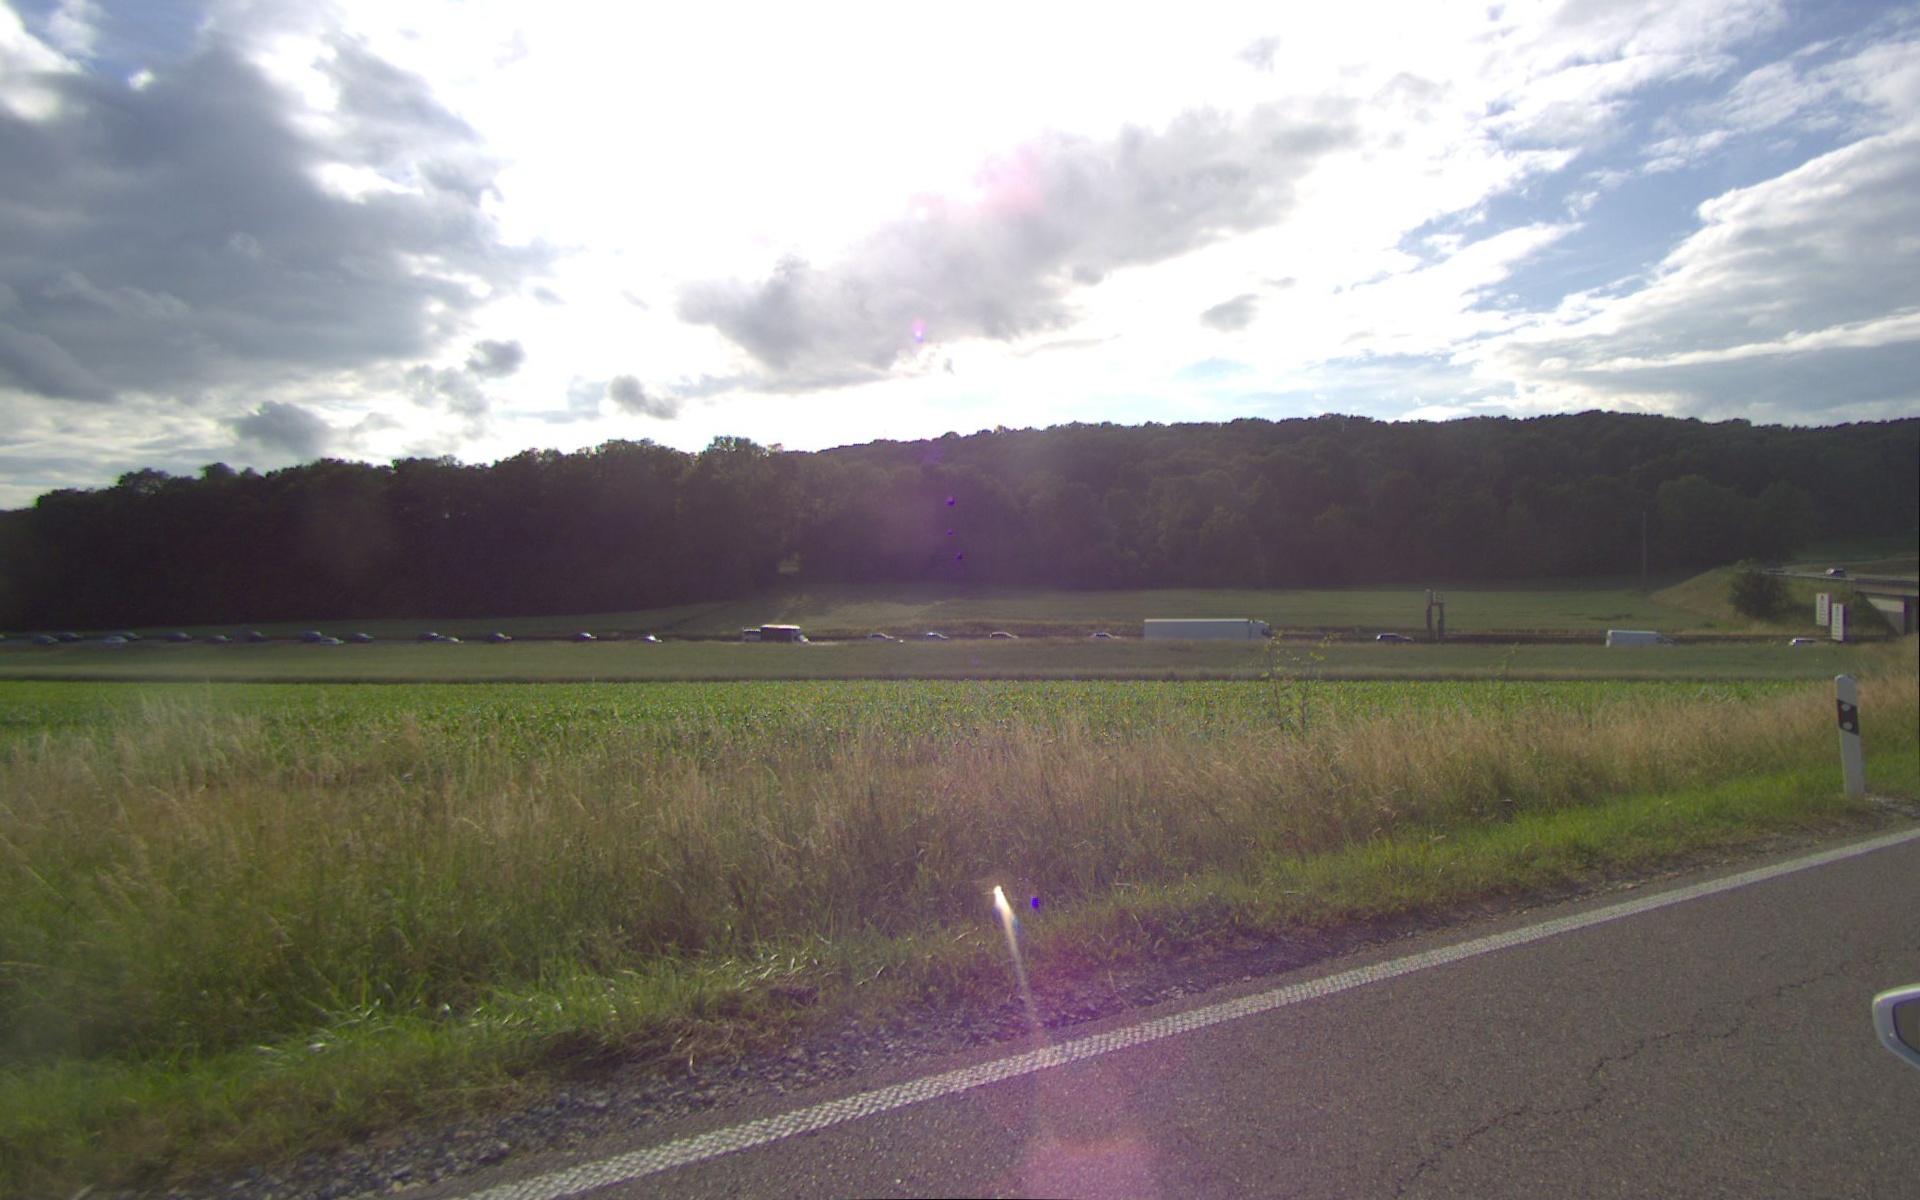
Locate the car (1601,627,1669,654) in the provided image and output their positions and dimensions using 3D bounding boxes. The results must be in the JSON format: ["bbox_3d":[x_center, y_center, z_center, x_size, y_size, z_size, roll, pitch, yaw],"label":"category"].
[{"bbox_3d":[76.960,4.624,114.609,6.004,2.620,2.372,-2,6,21],"label":"car"}]

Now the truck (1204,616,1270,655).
[{"bbox_3d":[35.702,4.603,129.474,7.895,4.529,3.029,-2,4,16],"label":"truck"}]

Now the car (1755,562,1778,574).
[{"bbox_3d":[133.489,-5.309,166.295,1.963,1.795,3.995,-4,1,25],"label":"car"}]

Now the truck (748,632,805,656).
[{"bbox_3d":[-27.303,6.557,149.442,8.330,3.451,2.123,-1,1,21],"label":"truck"}]

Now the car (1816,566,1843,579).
[{"bbox_3d":[121.755,-3.913,140.657,1.964,1.702,4.169,3,3,29],"label":"car"}]

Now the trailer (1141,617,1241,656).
[{"bbox_3d":[30.137,4.794,131.112,12.473,4.529,3.032,-2,4,16],"label":"trailer"}]
